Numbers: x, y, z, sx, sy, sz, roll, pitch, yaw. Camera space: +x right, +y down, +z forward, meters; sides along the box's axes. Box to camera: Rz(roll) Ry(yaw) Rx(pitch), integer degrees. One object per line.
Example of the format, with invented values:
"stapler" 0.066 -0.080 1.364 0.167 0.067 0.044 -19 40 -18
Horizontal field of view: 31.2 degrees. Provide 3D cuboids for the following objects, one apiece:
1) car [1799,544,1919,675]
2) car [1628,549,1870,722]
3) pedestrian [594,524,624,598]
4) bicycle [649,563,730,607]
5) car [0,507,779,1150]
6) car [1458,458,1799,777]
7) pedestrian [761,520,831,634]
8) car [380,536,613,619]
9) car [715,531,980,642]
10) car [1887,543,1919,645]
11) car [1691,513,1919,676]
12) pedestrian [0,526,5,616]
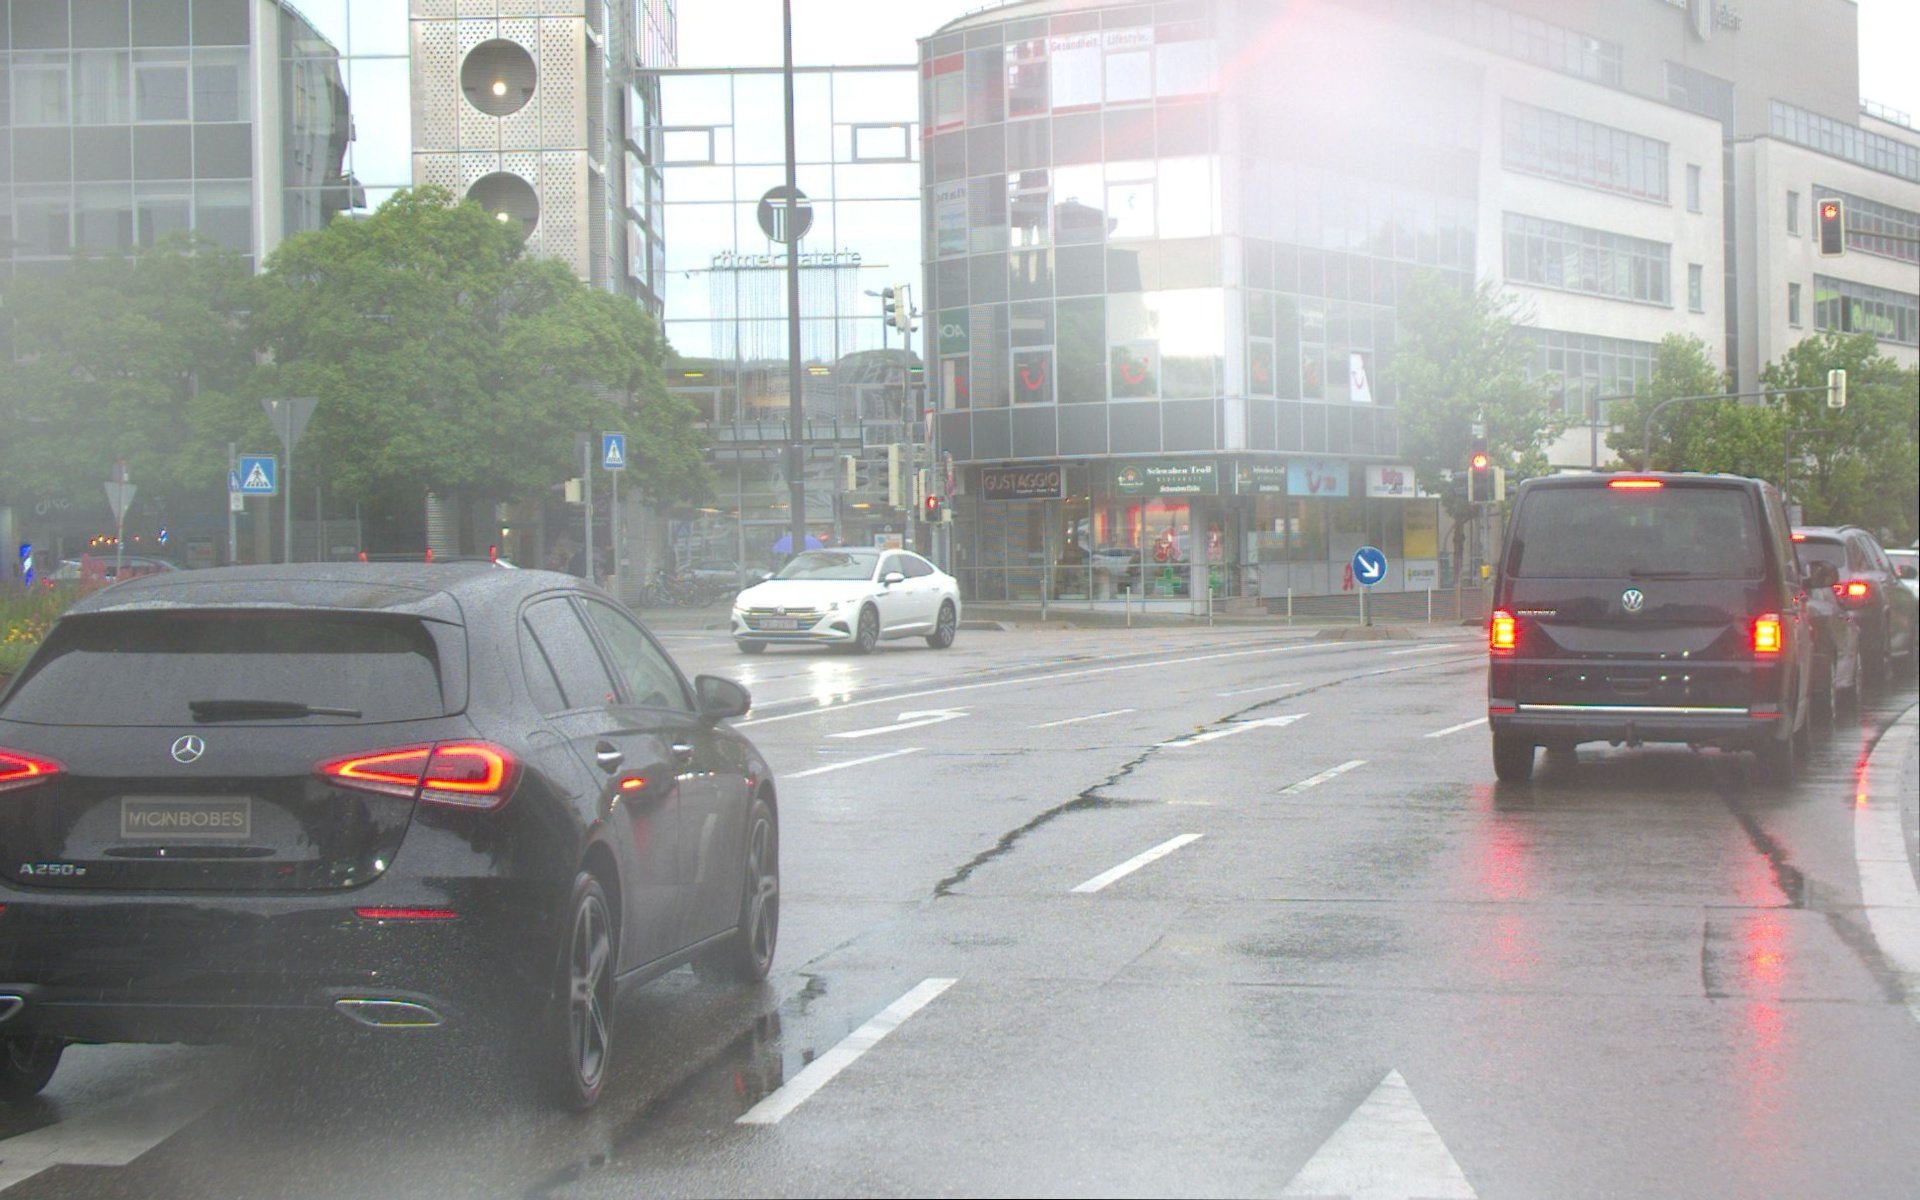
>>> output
"car" 11.504 0.082 42.495 1.635 1.443 4.264 1 2 21
"car" 6.933 0.248 29.923 1.633 1.381 4.511 0 1 18
"pedestrian" -9.459 -1.055 92.710 0.762 2.007 0.714 0 1 -2
"bicycle" -7.753 -0.425 98.624 2.273 1.242 0.676 -1 0 -1
"car" -1.706 0.503 10.279 1.816 1.524 3.812 1 2 5
"car" 4.534 0.080 22.811 1.997 1.887 4.584 0 0 14
"pedestrian" -2.941 -0.416 61.510 1.162 2.007 1.329 0 1 -6
"car" -9.092 -0.454 67.636 4.193 1.590 1.870 0 1 8
"car" -1.486 -0.213 47.496 1.844 1.455 4.803 1 1 22
"car" 14.297 -0.104 48.410 1.914 1.395 3.453 0 0 23
"car" 9.026 -0.092 36.241 1.903 1.615 4.331 0 1 21
"pedestrian" -14.679 -0.431 51.443 0.497 1.343 0.536 0 1 37
